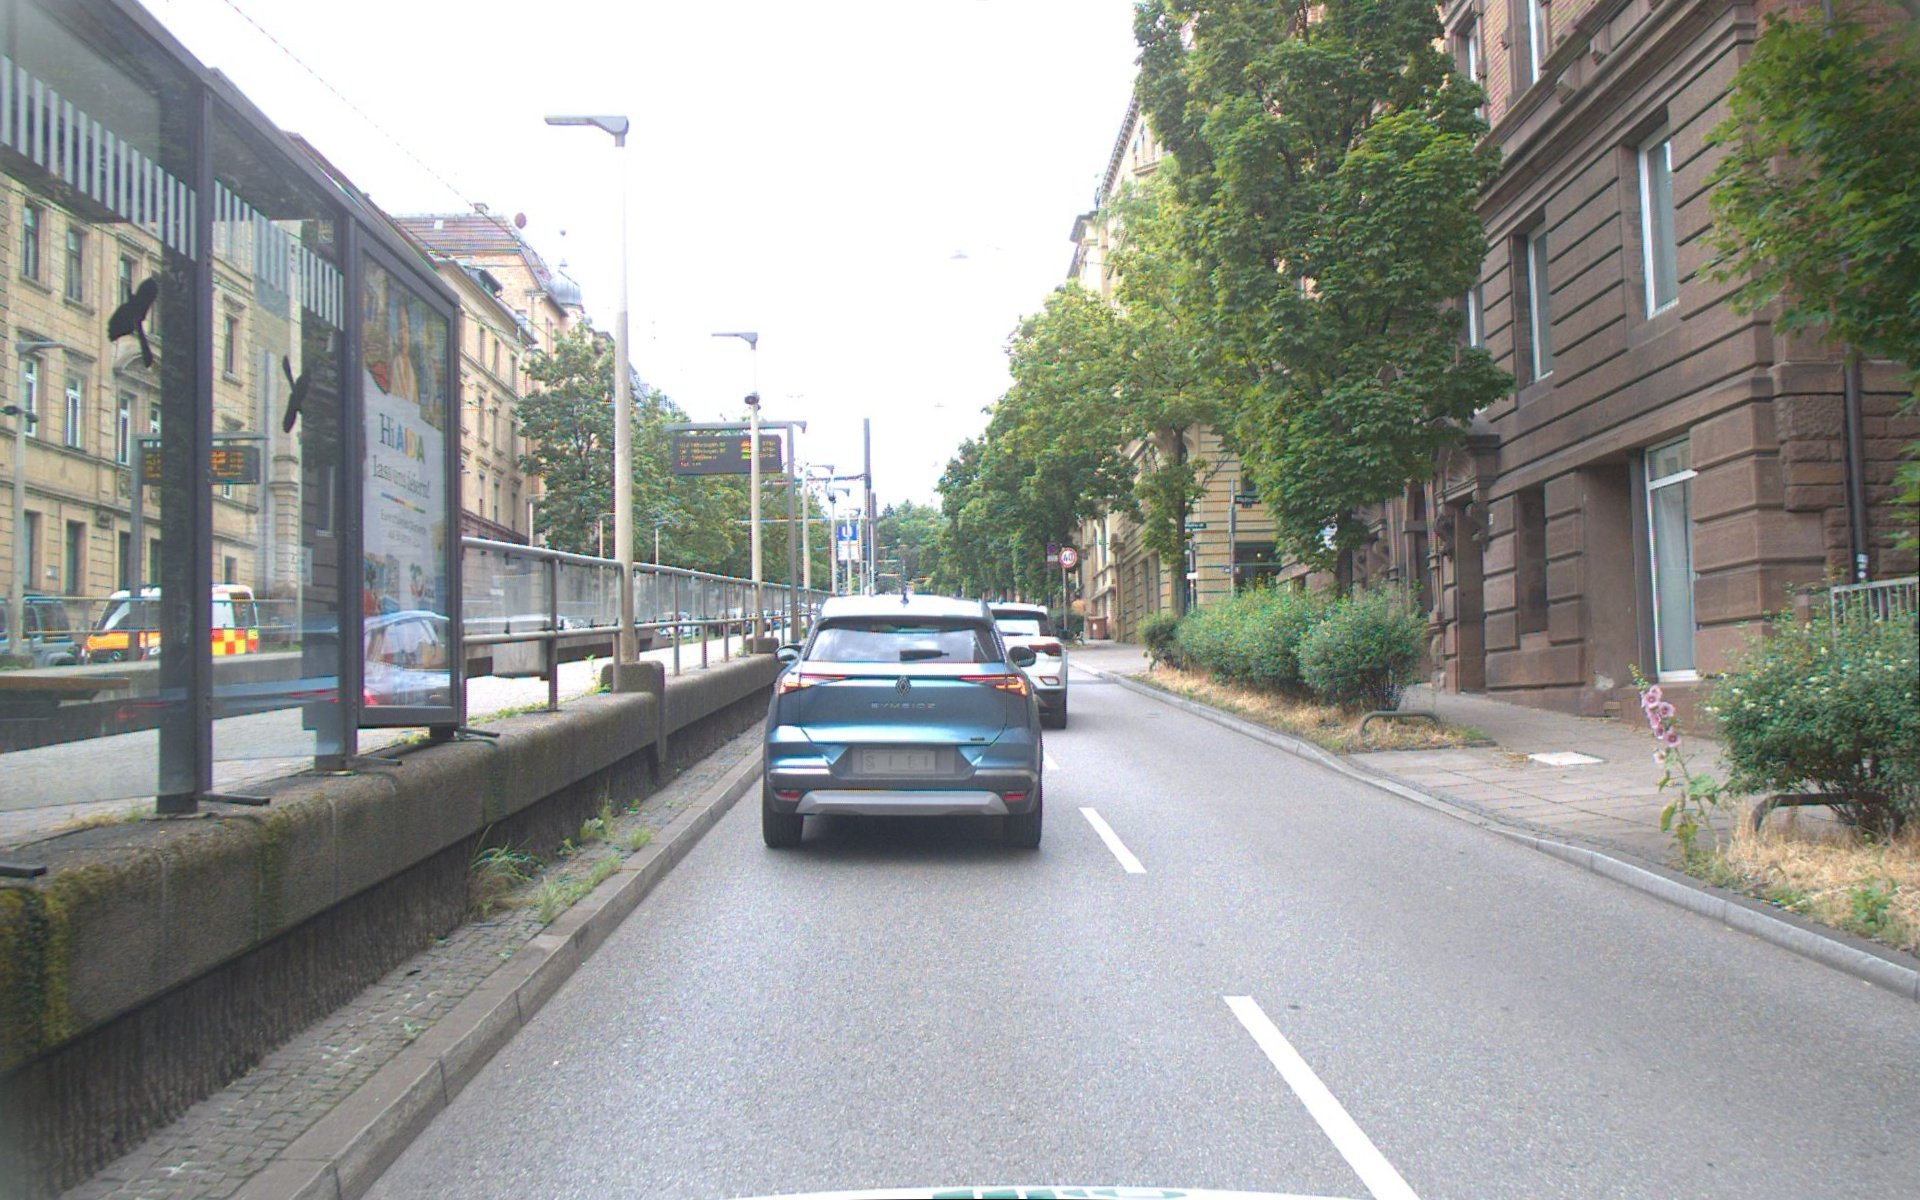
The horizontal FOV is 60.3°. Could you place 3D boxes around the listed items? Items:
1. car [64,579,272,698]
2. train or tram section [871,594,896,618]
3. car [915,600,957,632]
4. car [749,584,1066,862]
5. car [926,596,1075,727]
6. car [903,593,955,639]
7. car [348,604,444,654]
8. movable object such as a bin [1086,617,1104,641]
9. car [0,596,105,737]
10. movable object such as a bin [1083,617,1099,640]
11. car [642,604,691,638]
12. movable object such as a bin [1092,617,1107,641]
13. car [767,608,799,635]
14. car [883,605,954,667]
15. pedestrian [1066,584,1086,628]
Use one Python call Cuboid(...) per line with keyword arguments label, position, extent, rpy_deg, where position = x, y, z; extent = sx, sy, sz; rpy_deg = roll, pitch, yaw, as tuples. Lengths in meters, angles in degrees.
Cuboid(label="car", position=(-16.968, 0.773, 35.814), extent=(1.953, 2.345, 5.453), rpy_deg=(-1, 0, -1))
Cuboid(label="train or tram section", position=(-11.093, 0.945, 241.166), extent=(2.934, 3.408, 13.436), rpy_deg=(-1, -1, 0))
Cuboid(label="car", position=(-1.215, 0.804, 84.081), extent=(2.026, 1.574, 4.193), rpy_deg=(1, -1, 0))
Cuboid(label="car", position=(-0.328, 0.734, 11.586), extent=(1.798, 1.574, 4.192), rpy_deg=(1, -1, -1))
Cuboid(label="car", position=(0.586, 0.780, 22.282), extent=(1.797, 1.574, 4.194), rpy_deg=(1, -1, 2))
Cuboid(label="car", position=(-1.116, 0.577, 59.806), extent=(1.798, 1.574, 4.192), rpy_deg=(1, -1, -1))
Cuboid(label="car", position=(-17.659, 0.893, 51.971), extent=(1.732, 1.496, 4.258), rpy_deg=(0, 0, -3))
Cuboid(label="movable object such as a bin", position=(5.586, 1.187, 68.259), extent=(0.498, 0.935, 0.485), rpy_deg=(-2, -1, -43))
Cuboid(label="car", position=(-14.160, 0.926, 23.398), extent=(1.954, 1.928, 4.412), rpy_deg=(-1, 0, -3))
Cuboid(label="movable object such as a bin", position=(5.451, 1.188, 68.846), extent=(0.599, 0.935, 0.493), rpy_deg=(-3, -1, 1))
Cuboid(label="car", position=(-15.436, 1.083, 87.153), extent=(1.897, 1.709, 3.999), rpy_deg=(-2, 0, -2))
Cuboid(label="movable object such as a bin", position=(5.702, 1.183, 67.607), extent=(0.489, 0.935, 0.444), rpy_deg=(-1, 0, 18))
Cuboid(label="car", position=(-11.913, 1.417, 111.557), extent=(1.674, 1.766, 4.575), rpy_deg=(-1, 0, -1))
Cuboid(label="car", position=(-1.096, 0.958, 44.534), extent=(1.798, 1.574, 4.192), rpy_deg=(1, -1, -1))
Cuboid(label="pedestrian", position=(4.994, 0.254, 71.075), extent=(0.672, 1.861, 1.121), rpy_deg=(-2, -1, -1))
